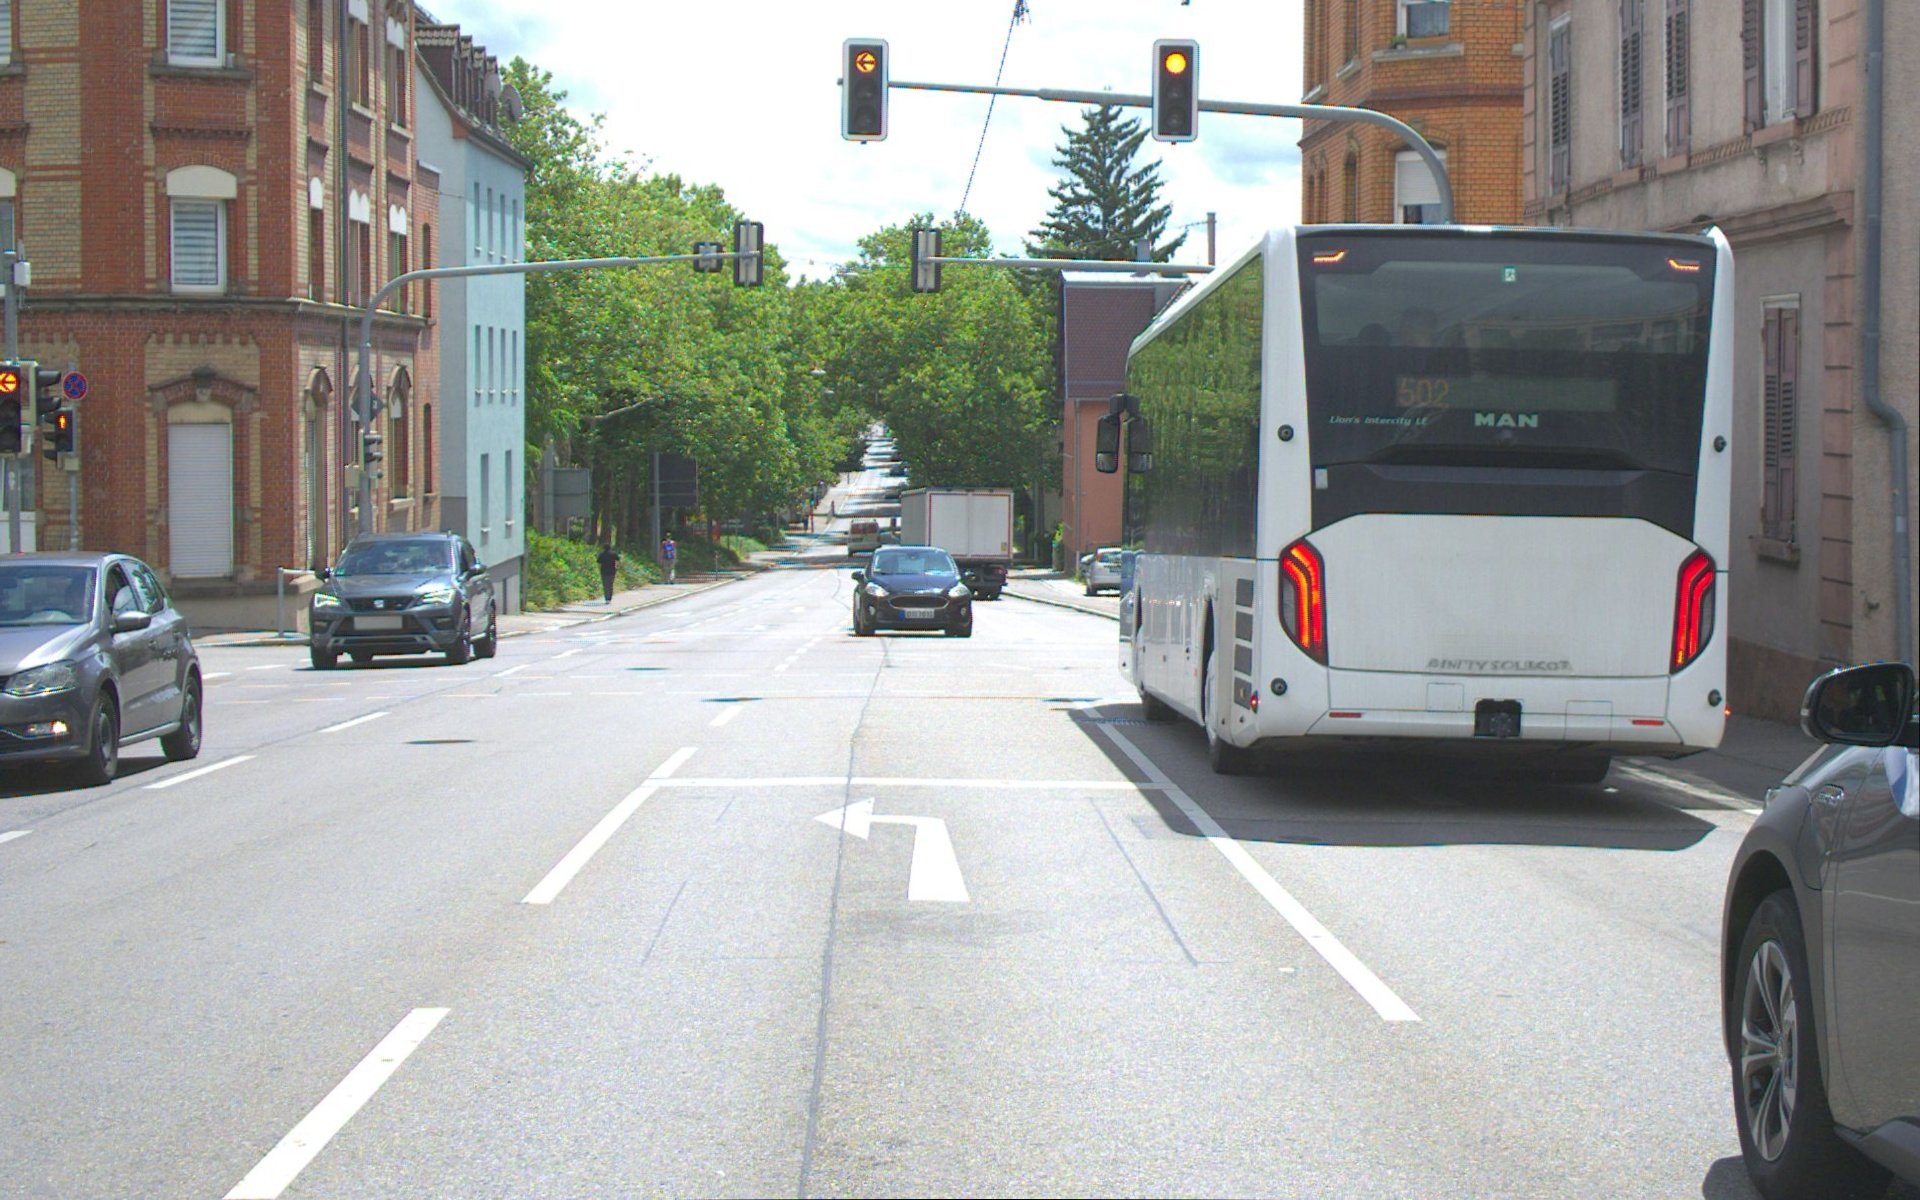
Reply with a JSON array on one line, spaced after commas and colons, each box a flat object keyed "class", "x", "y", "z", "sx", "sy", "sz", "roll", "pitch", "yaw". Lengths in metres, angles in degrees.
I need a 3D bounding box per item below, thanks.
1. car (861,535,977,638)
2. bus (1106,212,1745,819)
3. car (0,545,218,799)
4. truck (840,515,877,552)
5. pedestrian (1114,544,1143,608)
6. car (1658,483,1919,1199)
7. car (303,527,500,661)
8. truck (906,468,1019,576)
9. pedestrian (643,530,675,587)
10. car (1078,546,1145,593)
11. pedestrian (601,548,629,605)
[{"class": "car", "x": -0.652, "y": -0.239, "z": 54.333, "sx": 1.758, "sy": 1.511, "sz": 3.794, "roll": -1, "pitch": 1, "yaw": -1}, {"class": "bus", "x": 2.705, "y": -0.595, "z": 24.240, "sx": 2.672, "sy": 3.145, "sz": 12.463, "roll": -1, "pitch": 1, "yaw": -1}, {"class": "car", "x": -5.971, "y": 0.412, "z": 21.674, "sx": 1.758, "sy": 1.408, "sz": 3.734, "roll": -2, "pitch": 2, "yaw": -1}, {"class": "truck", "x": -5.598, "y": -3.660, "z": 189.902, "sx": 1.993, "sy": 2.007, "sz": 4.000, "roll": 1, "pitch": 1, "yaw": -1}, {"class": "pedestrian", "x": 4.594, "y": -0.659, "z": 93.832, "sx": 0.738, "sy": 1.744, "sz": 0.619, "roll": -1, "pitch": 1, "yaw": -1}, {"class": "car", "x": 2.729, "y": 0.619, "z": 6.121, "sx": 1.919, "sy": 1.607, "sz": 4.684, "roll": 1, "pitch": 1, "yaw": -1}, {"class": "car", "x": -6.707, "y": -0.113, "z": 41.635, "sx": 1.758, "sy": 1.516, "sz": 3.958, "roll": -1, "pitch": 1, "yaw": -1}, {"class": "truck", "x": 0.015, "y": -2.330, "z": 103.208, "sx": 2.926, "sy": 3.070, "sz": 7.887, "roll": -1, "pitch": 1, "yaw": -3}, {"class": "pedestrian", "x": -10.590, "y": -1.462, "z": 120.985, "sx": 0.995, "sy": 2.007, "sz": 1.189, "roll": 0, "pitch": 1, "yaw": -1}, {"class": "car", "x": 4.759, "y": -0.973, "z": 108.299, "sx": 1.794, "sy": 1.405, "sz": 4.001, "roll": -1, "pitch": 2, "yaw": -2}, {"class": "pedestrian", "x": -9.523, "y": -0.648, "z": 94.863, "sx": 0.729, "sy": 1.560, "sz": 0.561, "roll": 0, "pitch": 1, "yaw": -1}]
